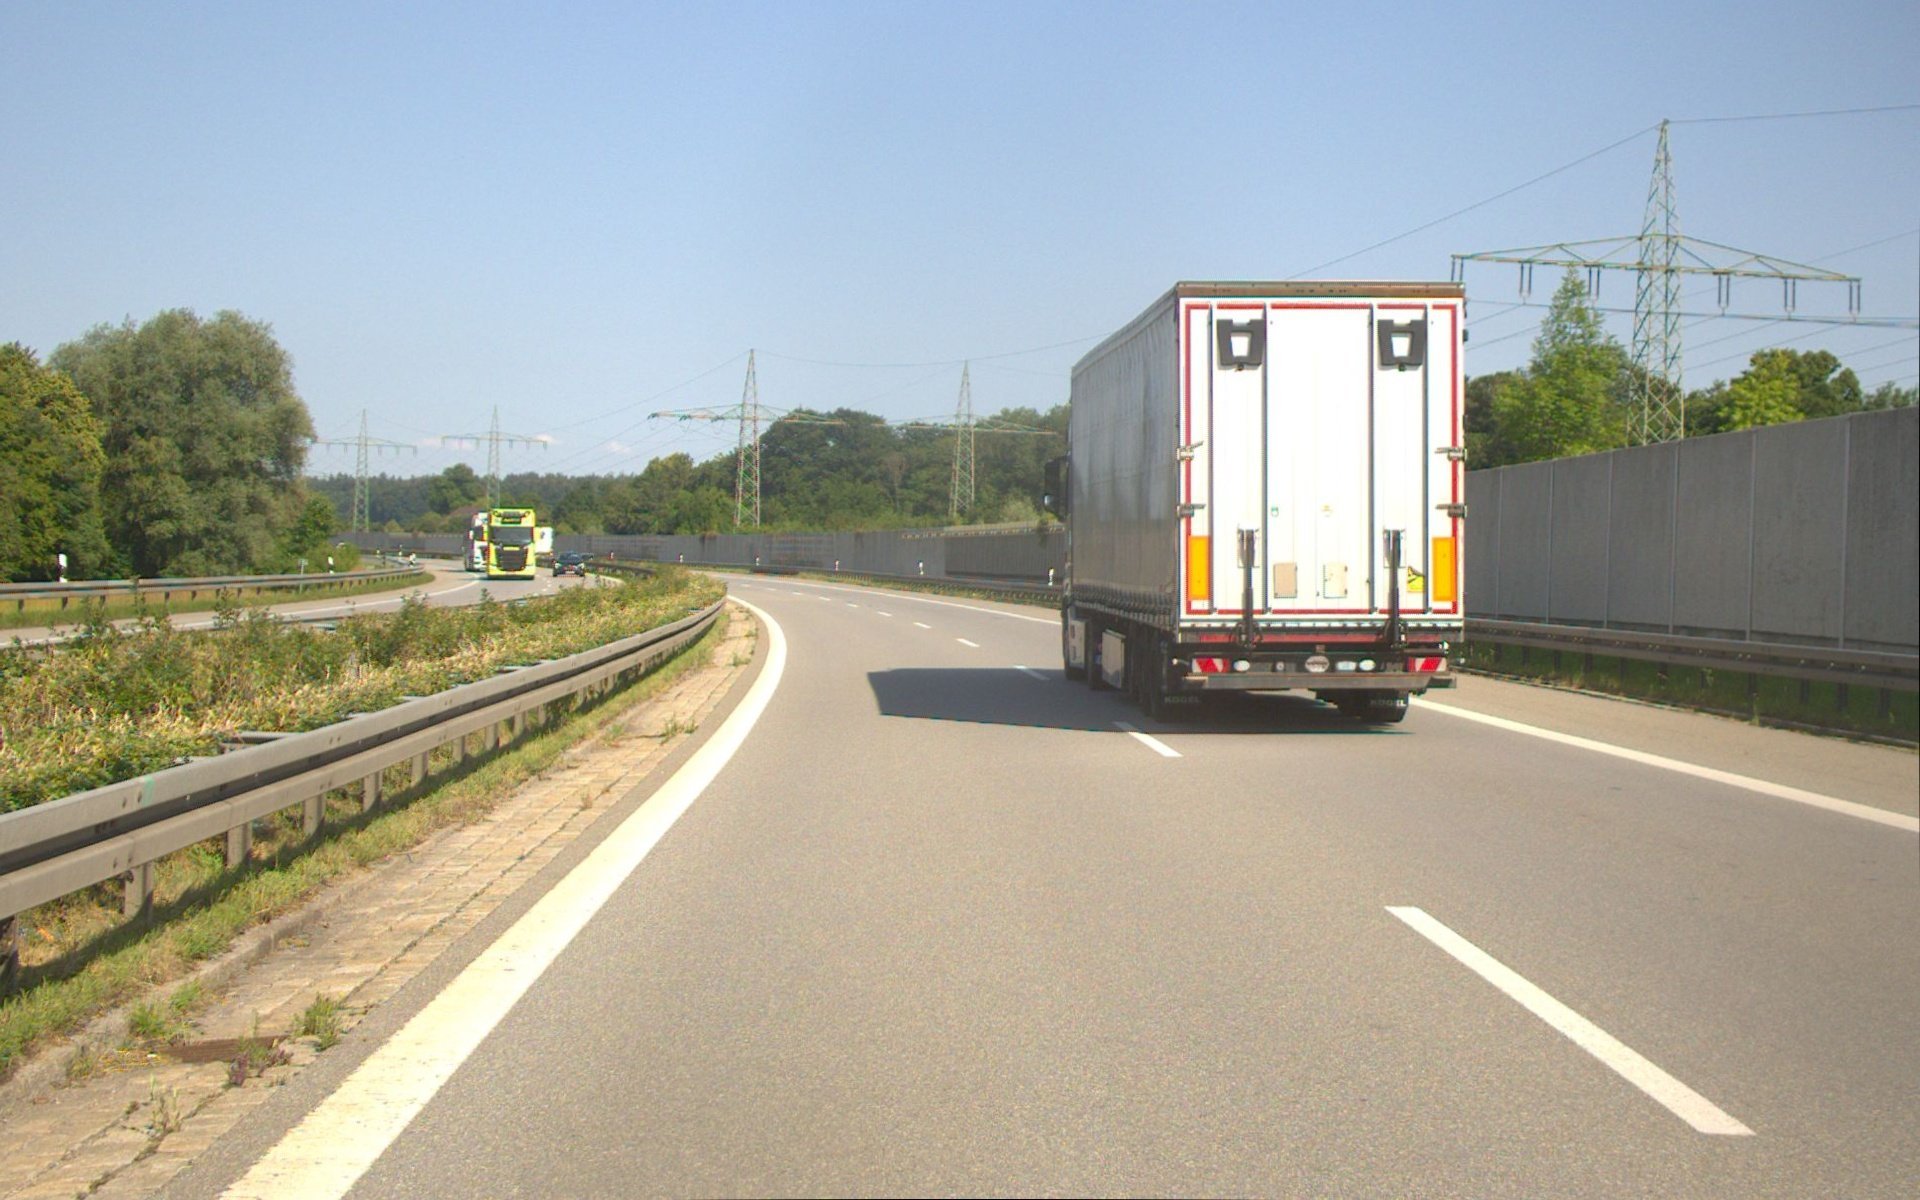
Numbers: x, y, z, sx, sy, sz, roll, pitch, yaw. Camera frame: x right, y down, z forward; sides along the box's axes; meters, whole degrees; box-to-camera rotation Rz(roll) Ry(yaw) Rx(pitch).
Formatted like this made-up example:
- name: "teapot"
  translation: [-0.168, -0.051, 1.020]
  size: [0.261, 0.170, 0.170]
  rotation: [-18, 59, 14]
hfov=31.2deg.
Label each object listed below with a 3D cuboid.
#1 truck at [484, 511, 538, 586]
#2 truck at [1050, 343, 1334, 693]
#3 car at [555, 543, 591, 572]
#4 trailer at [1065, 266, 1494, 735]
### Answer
- name: "truck"
  translation: [-24.288, -2.744, 186.119]
  size: [2.758, 3.894, 8.772]
  rotation: [-1, 1, -7]
- name: "truck"
  translation: [2.754, -0.975, 42.824]
  size: [2.830, 3.998, 6.587]
  rotation: [-1, 0, -2]
- name: "car"
  translation: [-23.057, -2.518, 204.771]
  size: [1.993, 1.665, 4.001]
  rotation: [-1, 0, -7]
- name: "trailer"
  translation: [2.972, -0.920, 36.107]
  size: [2.884, 4.052, 12.421]
  rotation: [-1, 0, -2]
